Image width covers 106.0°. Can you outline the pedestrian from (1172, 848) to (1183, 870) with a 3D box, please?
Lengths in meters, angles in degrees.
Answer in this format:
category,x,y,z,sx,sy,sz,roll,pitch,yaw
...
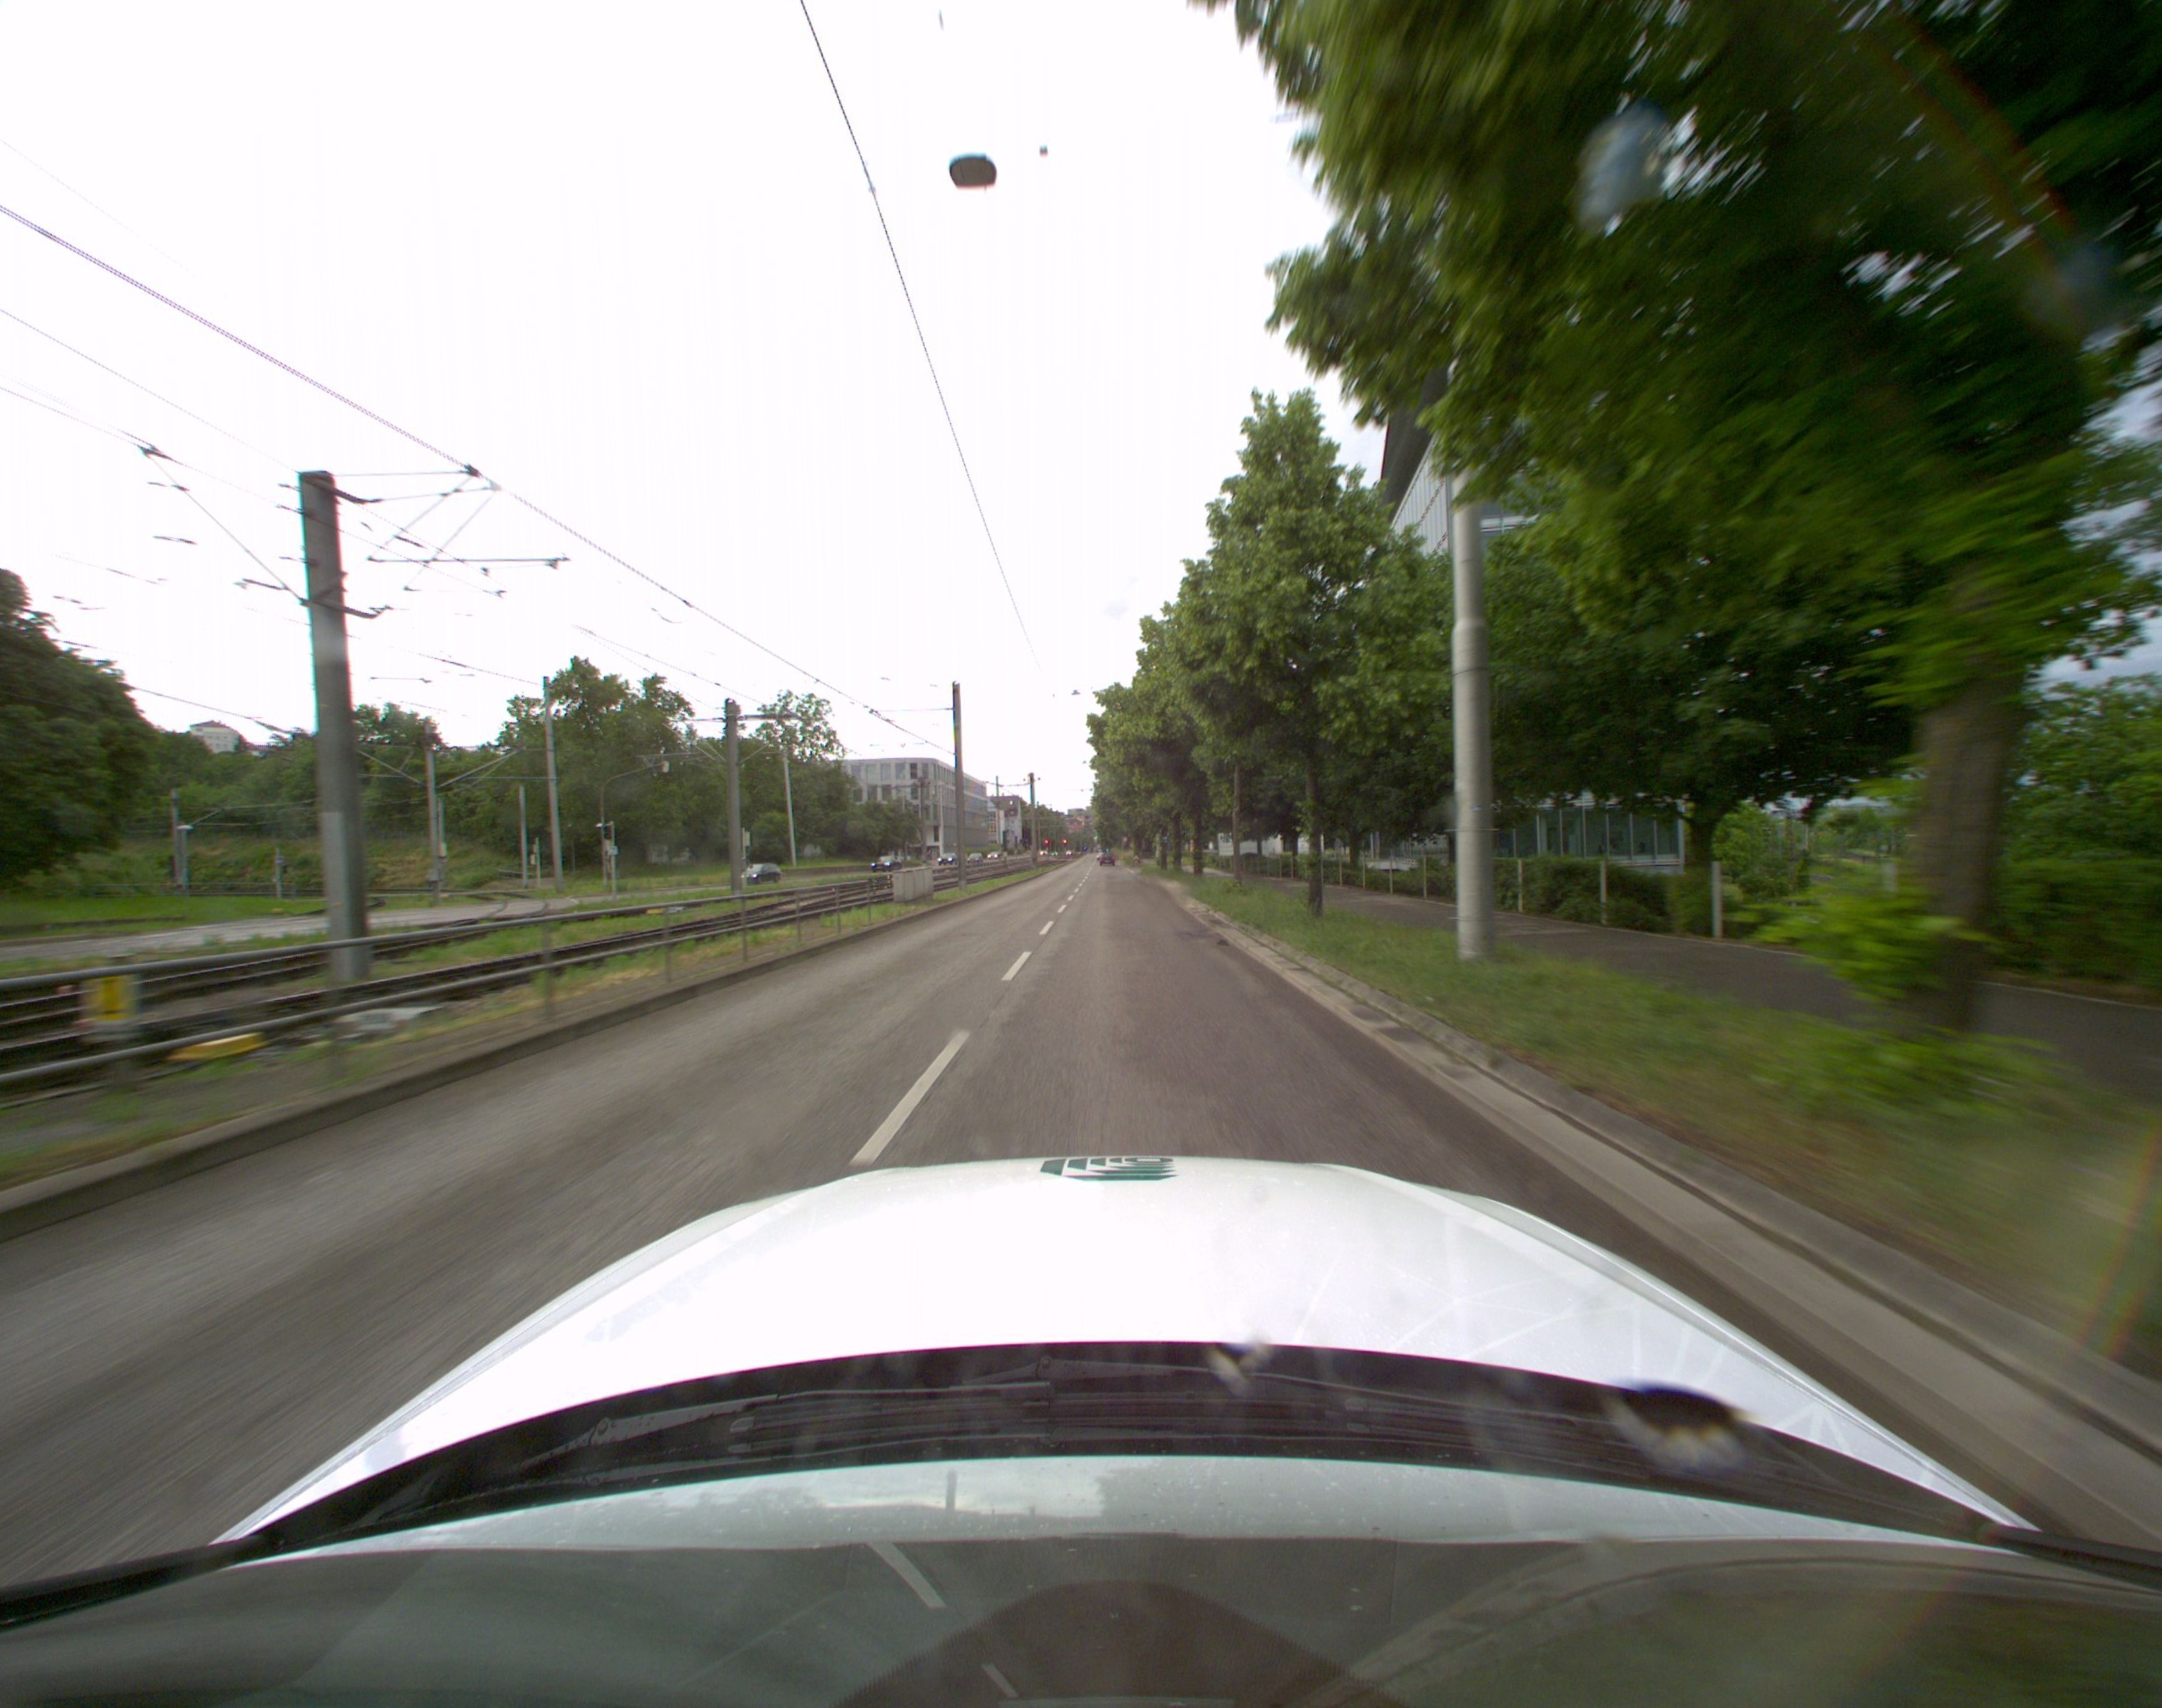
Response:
category,x,y,z,sx,sy,sz,roll,pitch,yaw
pedestrian,7.779,0.394,65.642,0.822,1.797,0.868,-1,0,2

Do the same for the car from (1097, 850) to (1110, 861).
category,x,y,z,sx,sy,sz,roll,pitch,yaw
car,3.446,0.224,123.642,1.975,1.440,4.476,-2,0,2

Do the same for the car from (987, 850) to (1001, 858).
category,x,y,z,sx,sy,sz,roll,pitch,yaw
car,-16.155,-0.043,151.021,1.753,1.397,3.905,-2,0,4

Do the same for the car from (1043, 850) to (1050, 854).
category,x,y,z,sx,sy,sz,roll,pitch,yaw
car,-10.294,-0.563,241.934,1.750,1.244,3.989,-2,0,2

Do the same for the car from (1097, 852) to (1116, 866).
category,x,y,z,sx,sy,sz,roll,pitch,yaw
car,2.815,0.542,90.713,1.975,1.440,4.476,-2,0,2

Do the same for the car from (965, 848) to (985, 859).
category,x,y,z,sx,sy,sz,roll,pitch,yaw
car,-15.118,-0.019,116.100,1.882,1.486,4.313,-2,0,4

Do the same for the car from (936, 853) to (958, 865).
category,x,y,z,sx,sy,sz,roll,pitch,yaw
car,-18.177,0.651,110.834,1.940,1.595,4.850,-2,0,3

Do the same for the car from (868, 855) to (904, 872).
category,x,y,z,sx,sy,sz,roll,pitch,yaw
car,-20.084,0.964,84.257,2.080,1.589,5.165,-2,0,4

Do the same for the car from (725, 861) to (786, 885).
category,x,y,z,sx,sy,sz,roll,pitch,yaw
car,-22.650,1.279,56.889,1.917,1.446,4.689,-2,0,5
